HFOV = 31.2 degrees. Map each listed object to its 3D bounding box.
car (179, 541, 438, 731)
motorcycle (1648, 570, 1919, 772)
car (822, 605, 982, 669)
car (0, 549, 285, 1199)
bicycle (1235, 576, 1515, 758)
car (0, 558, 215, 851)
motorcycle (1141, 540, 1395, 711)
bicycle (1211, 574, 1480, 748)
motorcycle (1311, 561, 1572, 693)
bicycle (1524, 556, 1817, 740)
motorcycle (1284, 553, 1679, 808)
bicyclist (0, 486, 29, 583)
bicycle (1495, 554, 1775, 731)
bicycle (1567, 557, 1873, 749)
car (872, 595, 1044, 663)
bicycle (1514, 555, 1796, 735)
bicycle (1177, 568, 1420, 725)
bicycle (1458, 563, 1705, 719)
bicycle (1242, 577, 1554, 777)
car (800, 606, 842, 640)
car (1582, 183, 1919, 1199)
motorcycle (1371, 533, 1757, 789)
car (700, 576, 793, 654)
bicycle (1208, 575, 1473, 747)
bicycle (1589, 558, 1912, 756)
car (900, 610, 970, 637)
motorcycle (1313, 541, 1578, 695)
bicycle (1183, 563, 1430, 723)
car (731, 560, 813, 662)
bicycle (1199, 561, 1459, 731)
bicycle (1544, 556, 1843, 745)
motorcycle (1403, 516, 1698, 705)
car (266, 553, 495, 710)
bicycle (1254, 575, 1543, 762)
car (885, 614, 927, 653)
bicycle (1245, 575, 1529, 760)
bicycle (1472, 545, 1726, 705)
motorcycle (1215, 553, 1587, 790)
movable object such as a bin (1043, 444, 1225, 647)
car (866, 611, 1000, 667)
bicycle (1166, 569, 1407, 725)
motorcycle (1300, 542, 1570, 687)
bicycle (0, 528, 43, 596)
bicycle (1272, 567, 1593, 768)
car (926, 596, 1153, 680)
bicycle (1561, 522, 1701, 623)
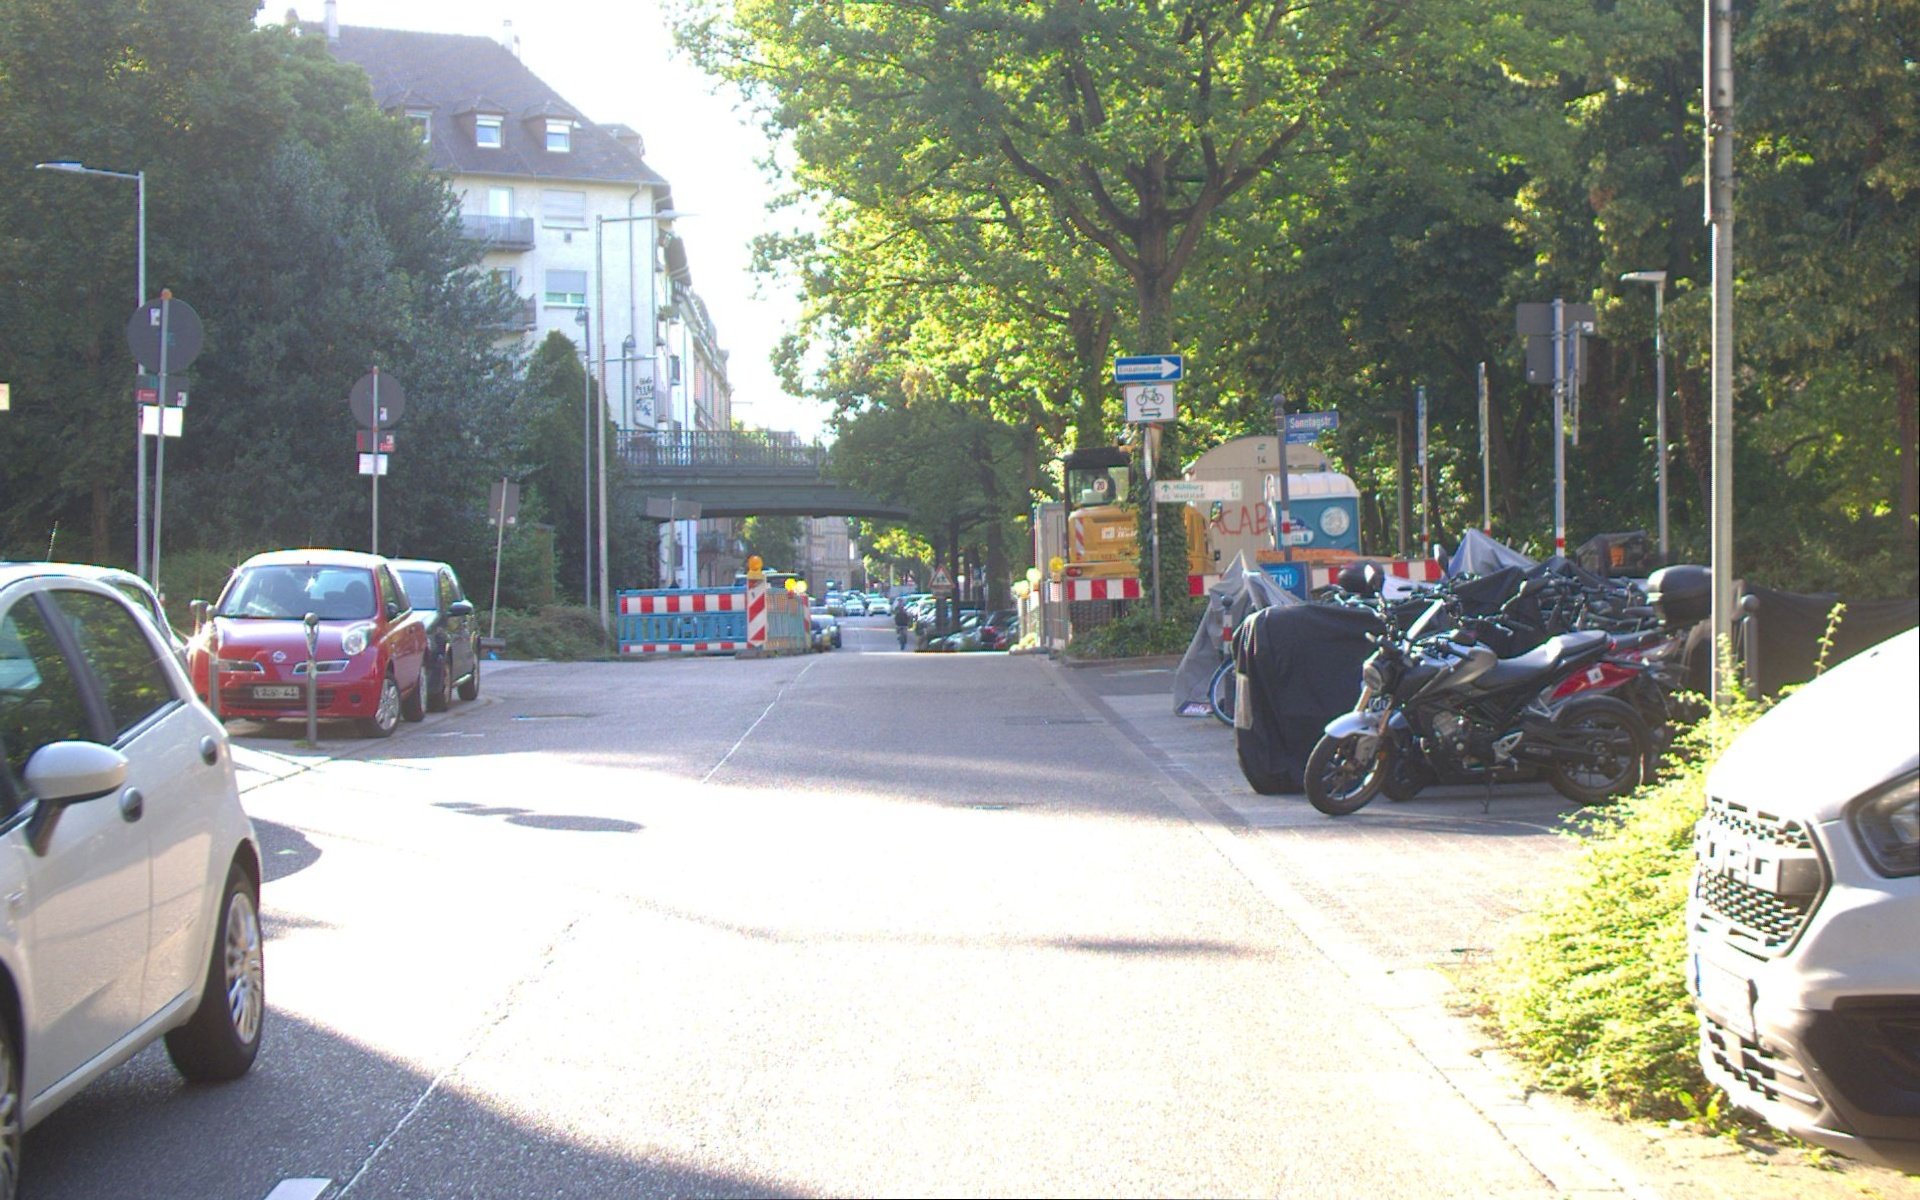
[{"bbox_3d":[-5.563,0.264,29.745,1.669,1.525,4.001,0,1,-3],"label":"car"},{"bbox_3d":[5.215,0.400,20.440,2.023,1.104,0.904,-2,1,-2],"label":"motorcycle"},{"bbox_3d":[-1.632,1.041,95.926,4.387,1.696,1.917,1,-2,-3],"label":"car"},{"bbox_3d":[-2.842,0.655,8.090,1.749,1.504,4.000,-1,1,-1],"label":"car"},{"bbox_3d":[2.904,0.462,24.081,1.924,1.242,0.303,-1,1,-6],"label":"bicycle"},{"bbox_3d":[-5.508,0.500,19.413,1.725,1.432,3.996,1,1,0],"label":"car"},{"bbox_3d":[2.613,0.199,29.162,1.935,1.408,0.939,0,1,27],"label":"motorcycle"},{"bbox_3d":[2.810,0.440,25.098,1.924,1.242,0.303,-1,1,-6],"label":"bicycle"},{"bbox_3d":[4.395,0.245,31.314,2.284,1.176,0.970,0,0,12],"label":"motorcycle"},{"bbox_3d":[4.916,0.323,23.811,1.924,1.242,0.480,-1,1,-6],"label":"bicycle"},{"bbox_3d":[2.810,0.422,18.607,2.014,1.322,0.621,-1,1,-4],"label":"motorcycle"},{"bbox_3d":[-13.954,-0.940,49.390,0.803,1.378,0.985,0,1,-36],"label":"bicyclist"},{"bbox_3d":[4.883,0.300,24.890,1.924,1.242,0.480,-1,1,-6],"label":"bicycle"},{"bbox_3d":[5.033,0.344,22.801,1.924,1.242,0.480,-1,1,-6],"label":"bicycle"},{"bbox_3d":[-0.072,0.768,90.149,4.387,1.696,1.917,1,-2,-3],"label":"car"},{"bbox_3d":[4.918,0.311,24.358,1.924,1.242,0.395,-1,1,-6],"label":"bicycle"},{"bbox_3d":[2.722,0.368,27.668,1.924,1.242,0.303,-1,1,-6],"label":"bicycle"},{"bbox_3d":[5.049,0.327,27.951,1.924,1.242,0.452,-1,1,-6],"label":"bicycle"},{"bbox_3d":[2.693,0.470,21.202,1.817,1.124,0.443,-3,1,-1],"label":"bicycle"},{"bbox_3d":[-6.317,1.068,156.367,1.812,1.393,3.975,-2,-2,-2],"label":"car"},{"bbox_3d":[3.974,0.261,7.062,4.973,2.089,2.106,-1,1,0],"label":"car"},{"bbox_3d":[3.414,0.335,19.536,2.023,1.357,0.694,-2,1,0],"label":"motorcycle"},{"bbox_3d":[-4.300,0.328,69.748,1.715,1.413,4.106,-2,-2,-2],"label":"car"},{"bbox_3d":[2.813,0.448,25.436,1.924,1.242,0.303,-1,1,-6],"label":"bicycle"},{"bbox_3d":[5.093,0.356,22.200,1.924,1.242,0.648,-1,1,-6],"label":"bicycle"},{"bbox_3d":[-1.588,1.483,217.760,4.387,1.604,1.781,1,-2,-1],"label":"car"},{"bbox_3d":[4.304,0.159,30.467,2.284,1.337,0.656,0,0,11],"label":"motorcycle"},{"bbox_3d":[2.755,0.338,27.347,1.924,1.242,0.303,-1,1,-6],"label":"bicycle"},{"bbox_3d":[-4.905,0.337,89.715,2.047,2.489,5.697,1,-2,-3],"label":"car"},{"bbox_3d":[2.759,0.341,25.734,1.905,1.242,0.303,-1,1,-6],"label":"bicycle"},{"bbox_3d":[4.969,0.333,23.302,1.924,1.242,0.480,-1,1,-6],"label":"bicycle"},{"bbox_3d":[4.889,0.080,28.540,2.282,1.526,0.756,-1,0,-6],"label":"motorcycle"},{"bbox_3d":[-5.698,0.267,34.197,1.669,1.453,4.000,0,1,-1],"label":"car"},{"bbox_3d":[2.986,0.462,23.422,1.924,1.242,0.303,-1,1,-6],"label":"bicycle"},{"bbox_3d":[-2.334,1.442,149.387,1.775,1.604,4.402,-1,0,-1],"label":"car"},{"bbox_3d":[2.947,0.459,23.757,1.924,1.242,0.303,-1,1,-6],"label":"bicycle"},{"bbox_3d":[5.094,0.193,27.431,1.924,1.242,0.480,-1,1,-6],"label":"bicycle"},{"bbox_3d":[2.610,0.411,20.513,2.023,1.280,0.904,-3,1,-2],"label":"motorcycle"},{"bbox_3d":[2.433,-0.737,47.396,1.994,2.690,3.108,0,0,13],"label":"movable object such as a bin"},{"bbox_3d":[-0.919,1.315,115.256,4.387,1.779,1.917,1,-2,-3],"label":"car"},{"bbox_3d":[2.662,0.377,28.028,1.924,1.242,0.303,-1,1,-6],"label":"bicycle"},{"bbox_3d":[4.512,0.124,32.759,2.364,1.337,0.941,-1,0,-10],"label":"motorcycle"},{"bbox_3d":[-13.948,-0.554,49.382,0.803,0.965,2.108,0,1,-36],"label":"bicycle"},{"bbox_3d":[3.008,0.421,21.970,1.924,1.242,0.648,-1,1,-6],"label":"bicycle"},{"bbox_3d":[1.579,0.778,69.262,4.386,1.601,1.917,1,-2,-4],"label":"car"},{"bbox_3d":[8.959,-0.381,46.008,1.023,1.281,2.148,-2,1,-13],"label":"bicycle"}]
